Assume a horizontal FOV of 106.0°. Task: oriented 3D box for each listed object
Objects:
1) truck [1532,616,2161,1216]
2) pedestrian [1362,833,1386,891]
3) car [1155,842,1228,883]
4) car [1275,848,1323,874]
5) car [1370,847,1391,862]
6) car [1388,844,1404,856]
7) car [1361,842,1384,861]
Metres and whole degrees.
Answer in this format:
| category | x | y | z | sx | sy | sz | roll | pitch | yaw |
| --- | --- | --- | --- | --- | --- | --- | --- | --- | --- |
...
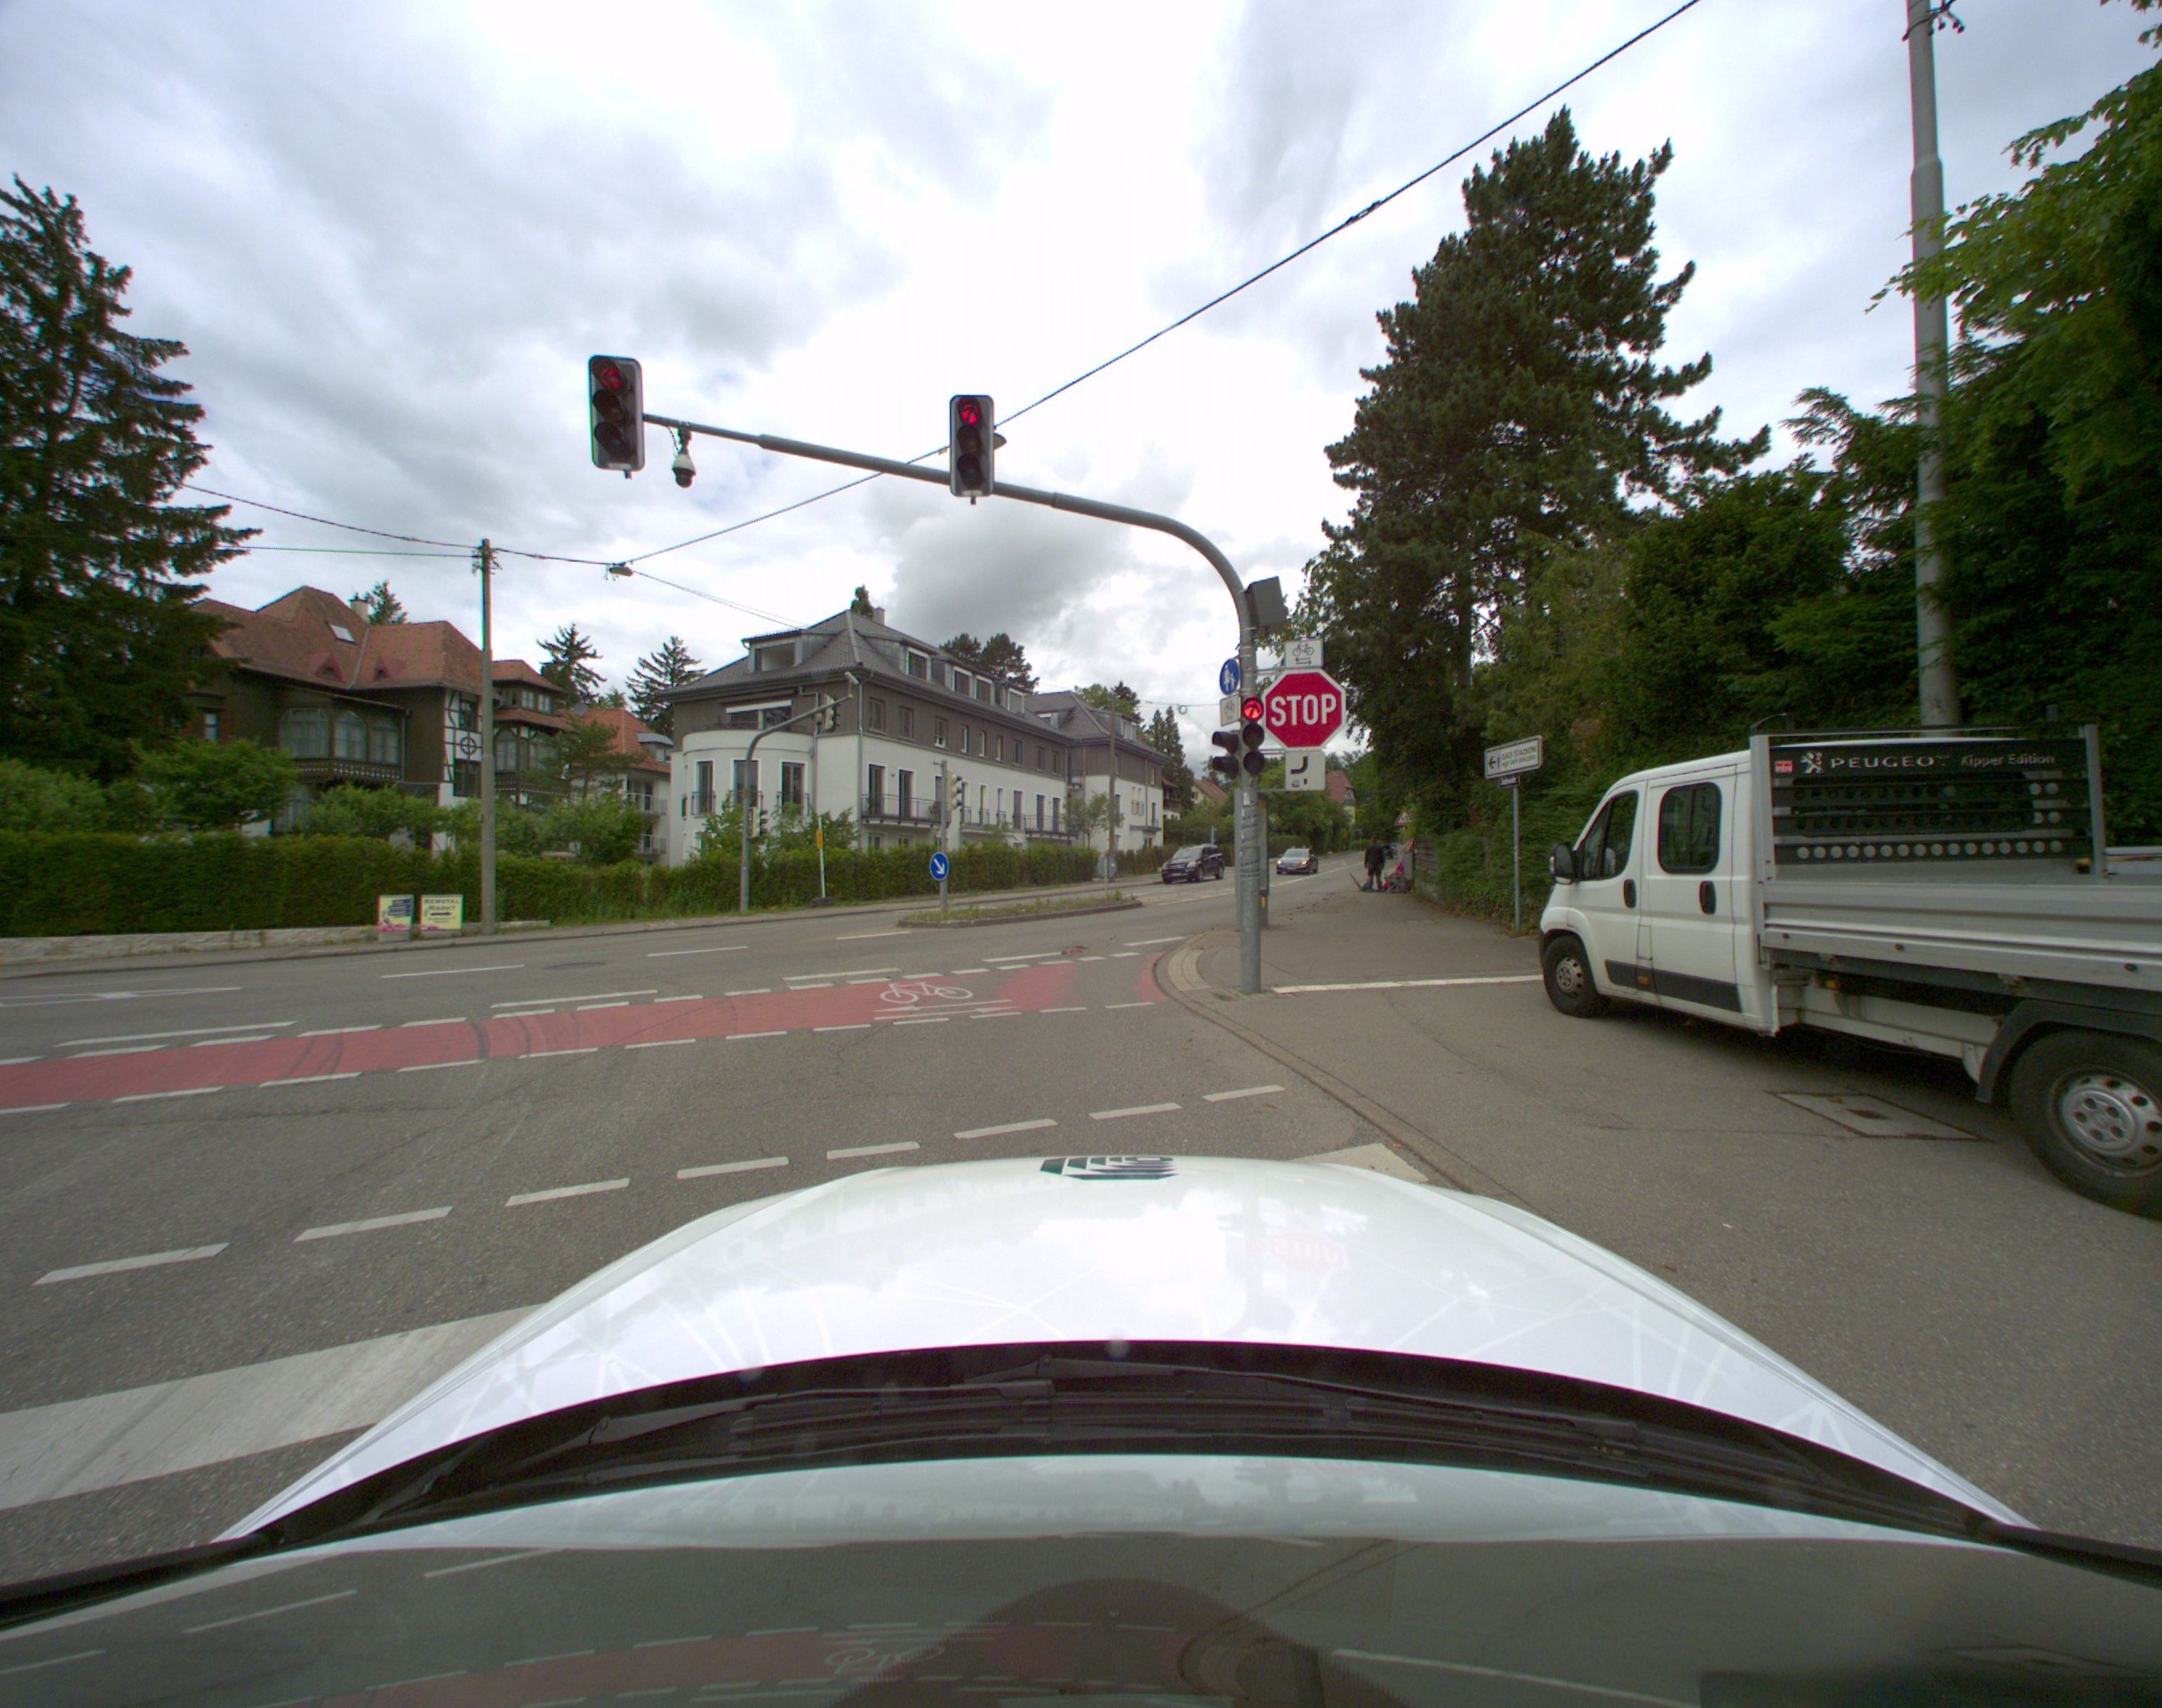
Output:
| category | x | y | z | sx | sy | sz | roll | pitch | yaw |
| --- | --- | --- | --- | --- | --- | --- | --- | --- | --- |
| truck | 5.273 | 0.231 | 4.957 | 2.198 | 2.243 | 5.729 | 0 | 0 | 4 |
| pedestrian | 9.798 | 0.270 | 27.269 | 0.594 | 1.907 | 0.559 | 0 | -1 | 2 |
| car | 5.641 | 0.421 | 41.122 | 1.894 | 1.881 | 5.173 | -3 | -1 | 28 |
| car | 12.808 | 0.399 | 47.683 | 1.921 | 1.403 | 4.770 | -1 | 0 | 25 |
| car | 32.490 | 0.032 | 88.290 | 1.783 | 1.527 | 4.770 | -2 | 0 | 24 |
| car | 40.982 | -0.559 | 105.851 | 1.678 | 1.430 | 3.770 | -2 | 0 | 26 |
| car | 27.585 | -0.255 | 76.974 | 1.791 | 1.753 | 4.511 | -2 | 0 | 22 |
